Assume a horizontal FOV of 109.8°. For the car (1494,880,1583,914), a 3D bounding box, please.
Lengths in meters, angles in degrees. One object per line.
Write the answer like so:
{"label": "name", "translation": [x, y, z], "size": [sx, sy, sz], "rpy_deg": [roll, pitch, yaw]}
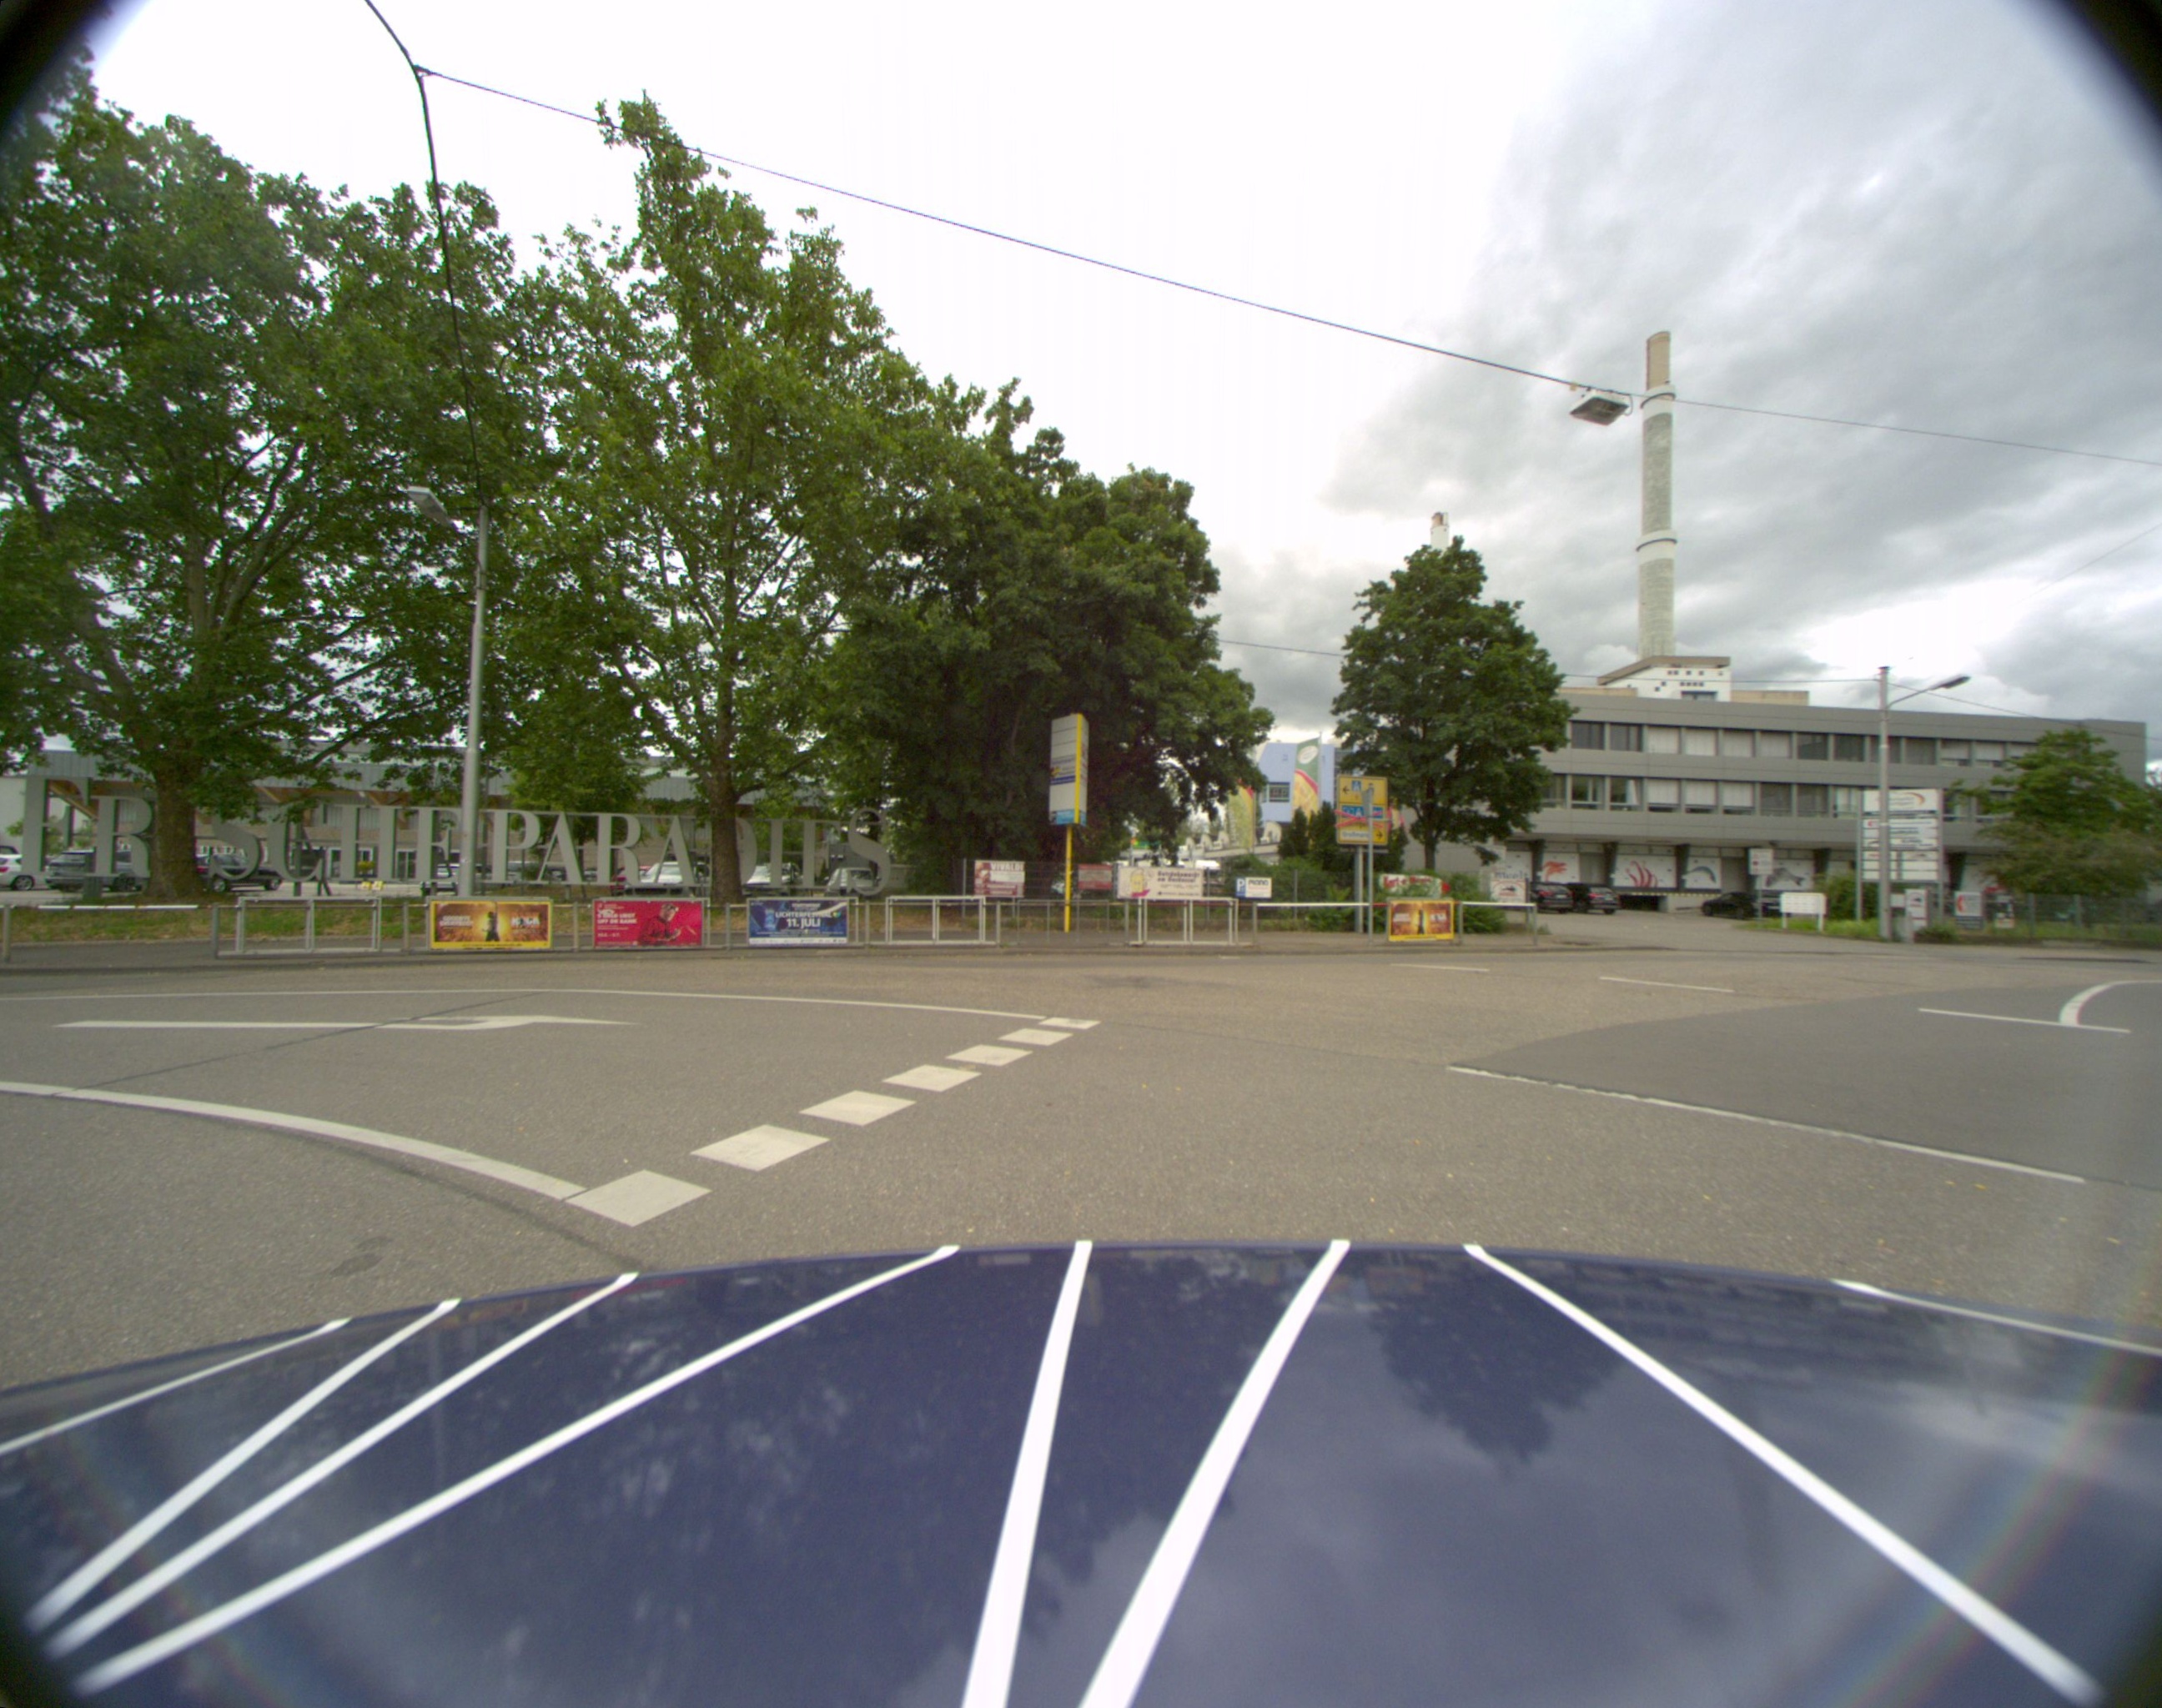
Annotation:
{"label": "car", "translation": [24.787, 2.283, 41.370], "size": [1.838, 1.608, 4.463], "rpy_deg": [2, 0, -4]}

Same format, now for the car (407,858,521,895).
{"label": "car", "translation": [-27.683, 1.024, 34.332], "size": [2.000, 1.552, 4.637], "rpy_deg": [1, -2, -11]}

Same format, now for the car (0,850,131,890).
{"label": "car", "translation": [-43.240, 0.659, 31.660], "size": [2.000, 1.549, 4.637], "rpy_deg": [1, -2, -11]}

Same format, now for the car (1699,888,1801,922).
{"label": "car", "translation": [35.869, 2.681, 40.946], "size": [2.047, 1.437, 4.834], "rpy_deg": [1, 0, 13]}

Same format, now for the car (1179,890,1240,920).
{"label": "car", "translation": [6.063, 2.382, 36.222], "size": [1.710, 1.241, 3.699], "rpy_deg": [2, -2, -9]}

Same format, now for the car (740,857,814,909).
{"label": "car", "translation": [-10.391, 1.009, 26.235], "size": [1.592, 1.603, 4.315], "rpy_deg": [1, -2, -11]}

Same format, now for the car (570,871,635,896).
{"label": "car", "translation": [-31.183, 1.895, 49.656], "size": [2.000, 1.552, 4.637], "rpy_deg": [1, -2, -11]}

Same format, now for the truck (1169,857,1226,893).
{"label": "truck", "translation": [14.036, 2.566, 93.385], "size": [2.872, 4.000, 15.846], "rpy_deg": [2, -2, -6]}

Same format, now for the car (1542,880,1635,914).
{"label": "car", "translation": [27.715, 2.329, 41.702], "size": [1.838, 1.608, 4.421], "rpy_deg": [2, 0, -5]}

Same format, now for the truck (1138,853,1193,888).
{"label": "truck", "translation": [10.086, 2.076, 92.981], "size": [2.852, 3.909, 15.722], "rpy_deg": [2, -2, -8]}

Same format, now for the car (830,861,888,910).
{"label": "car", "translation": [-7.736, 1.111, 26.762], "size": [1.592, 1.603, 3.997], "rpy_deg": [1, -2, -11]}

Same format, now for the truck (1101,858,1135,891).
{"label": "truck", "translation": [4.808, 2.669, 101.403], "size": [2.999, 4.140, 9.185], "rpy_deg": [2, -1, -7]}

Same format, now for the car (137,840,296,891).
{"label": "car", "translation": [-36.827, 0.539, 32.601], "size": [2.000, 2.001, 4.637], "rpy_deg": [1, -2, -11]}

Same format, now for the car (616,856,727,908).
{"label": "car", "translation": [-13.773, 0.972, 25.870], "size": [1.884, 1.603, 4.524], "rpy_deg": [1, -2, -9]}

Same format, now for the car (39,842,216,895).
{"label": "car", "translation": [-39.455, 0.625, 31.669], "size": [2.000, 2.001, 4.637], "rpy_deg": [1, -2, -11]}

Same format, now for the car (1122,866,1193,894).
{"label": "car", "translation": [8.161, 2.773, 81.074], "size": [7.153, 2.716, 2.243], "rpy_deg": [2, -1, -6]}

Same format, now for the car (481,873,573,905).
{"label": "car", "translation": [-28.406, 1.779, 39.181], "size": [2.000, 1.552, 4.637], "rpy_deg": [1, -2, -11]}
